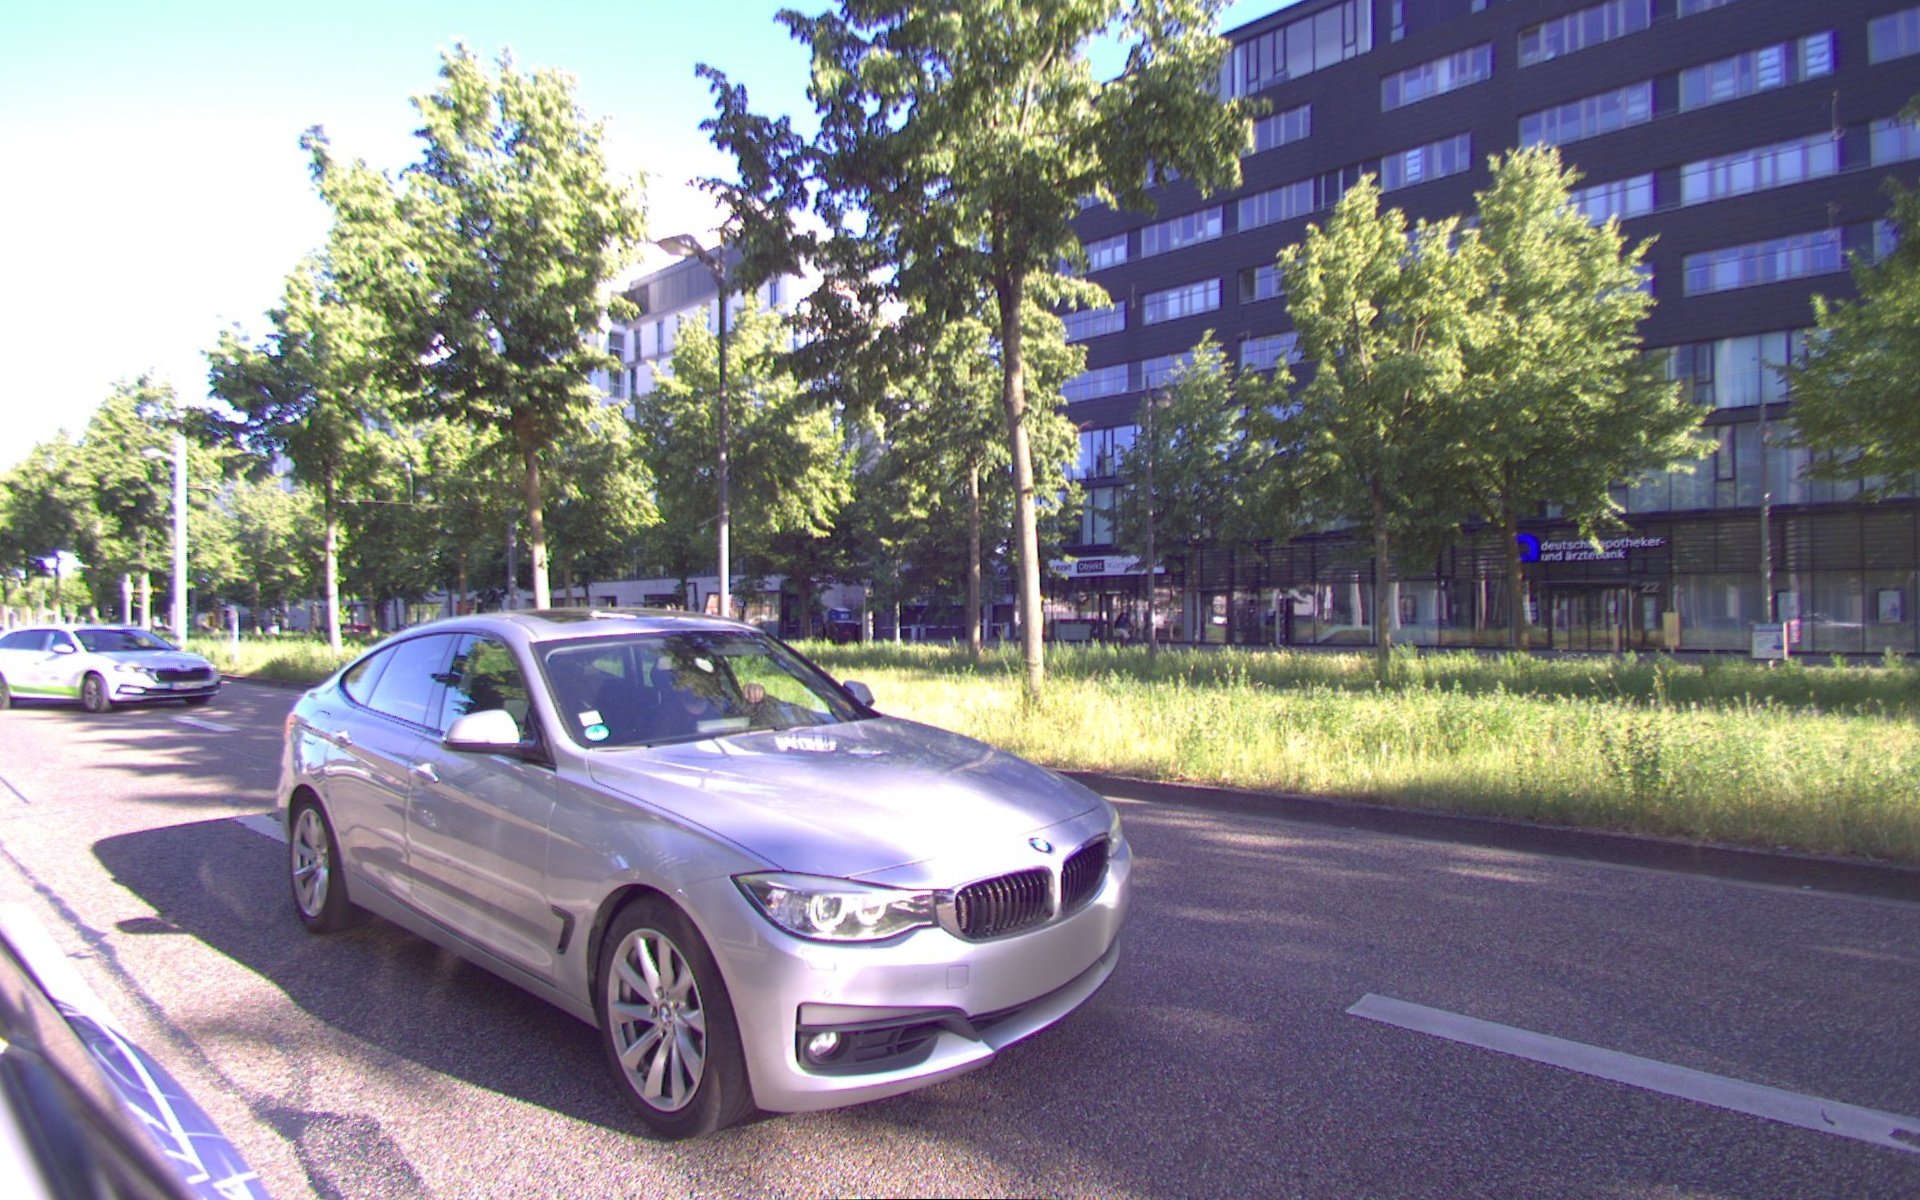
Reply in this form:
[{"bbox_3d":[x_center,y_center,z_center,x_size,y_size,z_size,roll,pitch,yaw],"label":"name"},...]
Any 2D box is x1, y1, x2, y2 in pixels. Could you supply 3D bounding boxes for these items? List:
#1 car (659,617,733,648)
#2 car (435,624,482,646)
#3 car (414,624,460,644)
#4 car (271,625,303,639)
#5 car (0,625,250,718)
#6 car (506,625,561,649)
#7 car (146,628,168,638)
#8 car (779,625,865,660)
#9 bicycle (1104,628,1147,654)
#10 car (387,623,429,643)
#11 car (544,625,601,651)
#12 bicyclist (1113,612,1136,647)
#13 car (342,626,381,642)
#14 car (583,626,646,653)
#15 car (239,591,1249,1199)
[{"bbox_3d":[-14.439,1.754,55.293,4.182,1.609,1.926,-2,-1,41],"label":"car"},{"bbox_3d":[-38.663,2.685,77.968,4.182,1.609,1.859,-2,-1,41],"label":"car"},{"bbox_3d":[-42.125,2.728,81.475,4.182,1.609,1.859,-2,-1,41],"label":"car"},{"bbox_3d":[-72.526,3.421,109.057,3.998,1.406,1.972,-2,-2,41],"label":"car"},{"bbox_3d":[-14.844,1.179,17.530,4.529,1.458,1.795,-1,-1,17],"label":"car"},{"bbox_3d":[-29.722,2.546,70.461,4.182,1.609,1.859,-2,-1,41],"label":"car"},{"bbox_3d":[-114.621,4.703,144.490,4.001,1.406,1.971,-2,-2,44],"label":"car"},{"bbox_3d":[-6.760,2.051,49.382,4.182,1.609,1.926,-2,-1,41],"label":"car"},{"bbox_3d":[6.850,1.696,41.950,1.755,1.043,0.472,-1,-1,41],"label":"bicycle"},{"bbox_3d":[-46.581,2.795,85.371,4.182,1.609,1.859,-2,-1,41],"label":"car"},{"bbox_3d":[-25.693,2.484,67.049,4.182,1.609,1.859,-2,-1,41],"label":"car"},{"bbox_3d":[6.817,1.239,41.982,0.820,1.435,0.472,-2,-2,41],"label":"bicyclist"},{"bbox_3d":[-55.445,3.173,93.738,3.998,1.406,1.972,-2,-2,41],"label":"car"},{"bbox_3d":[-21.581,2.427,63.148,4.182,1.609,1.859,-2,-1,41],"label":"car"},{"bbox_3d":[-1.313,0.776,4.298,4.558,1.495,1.800,-1,-1,40],"label":"car"}]
